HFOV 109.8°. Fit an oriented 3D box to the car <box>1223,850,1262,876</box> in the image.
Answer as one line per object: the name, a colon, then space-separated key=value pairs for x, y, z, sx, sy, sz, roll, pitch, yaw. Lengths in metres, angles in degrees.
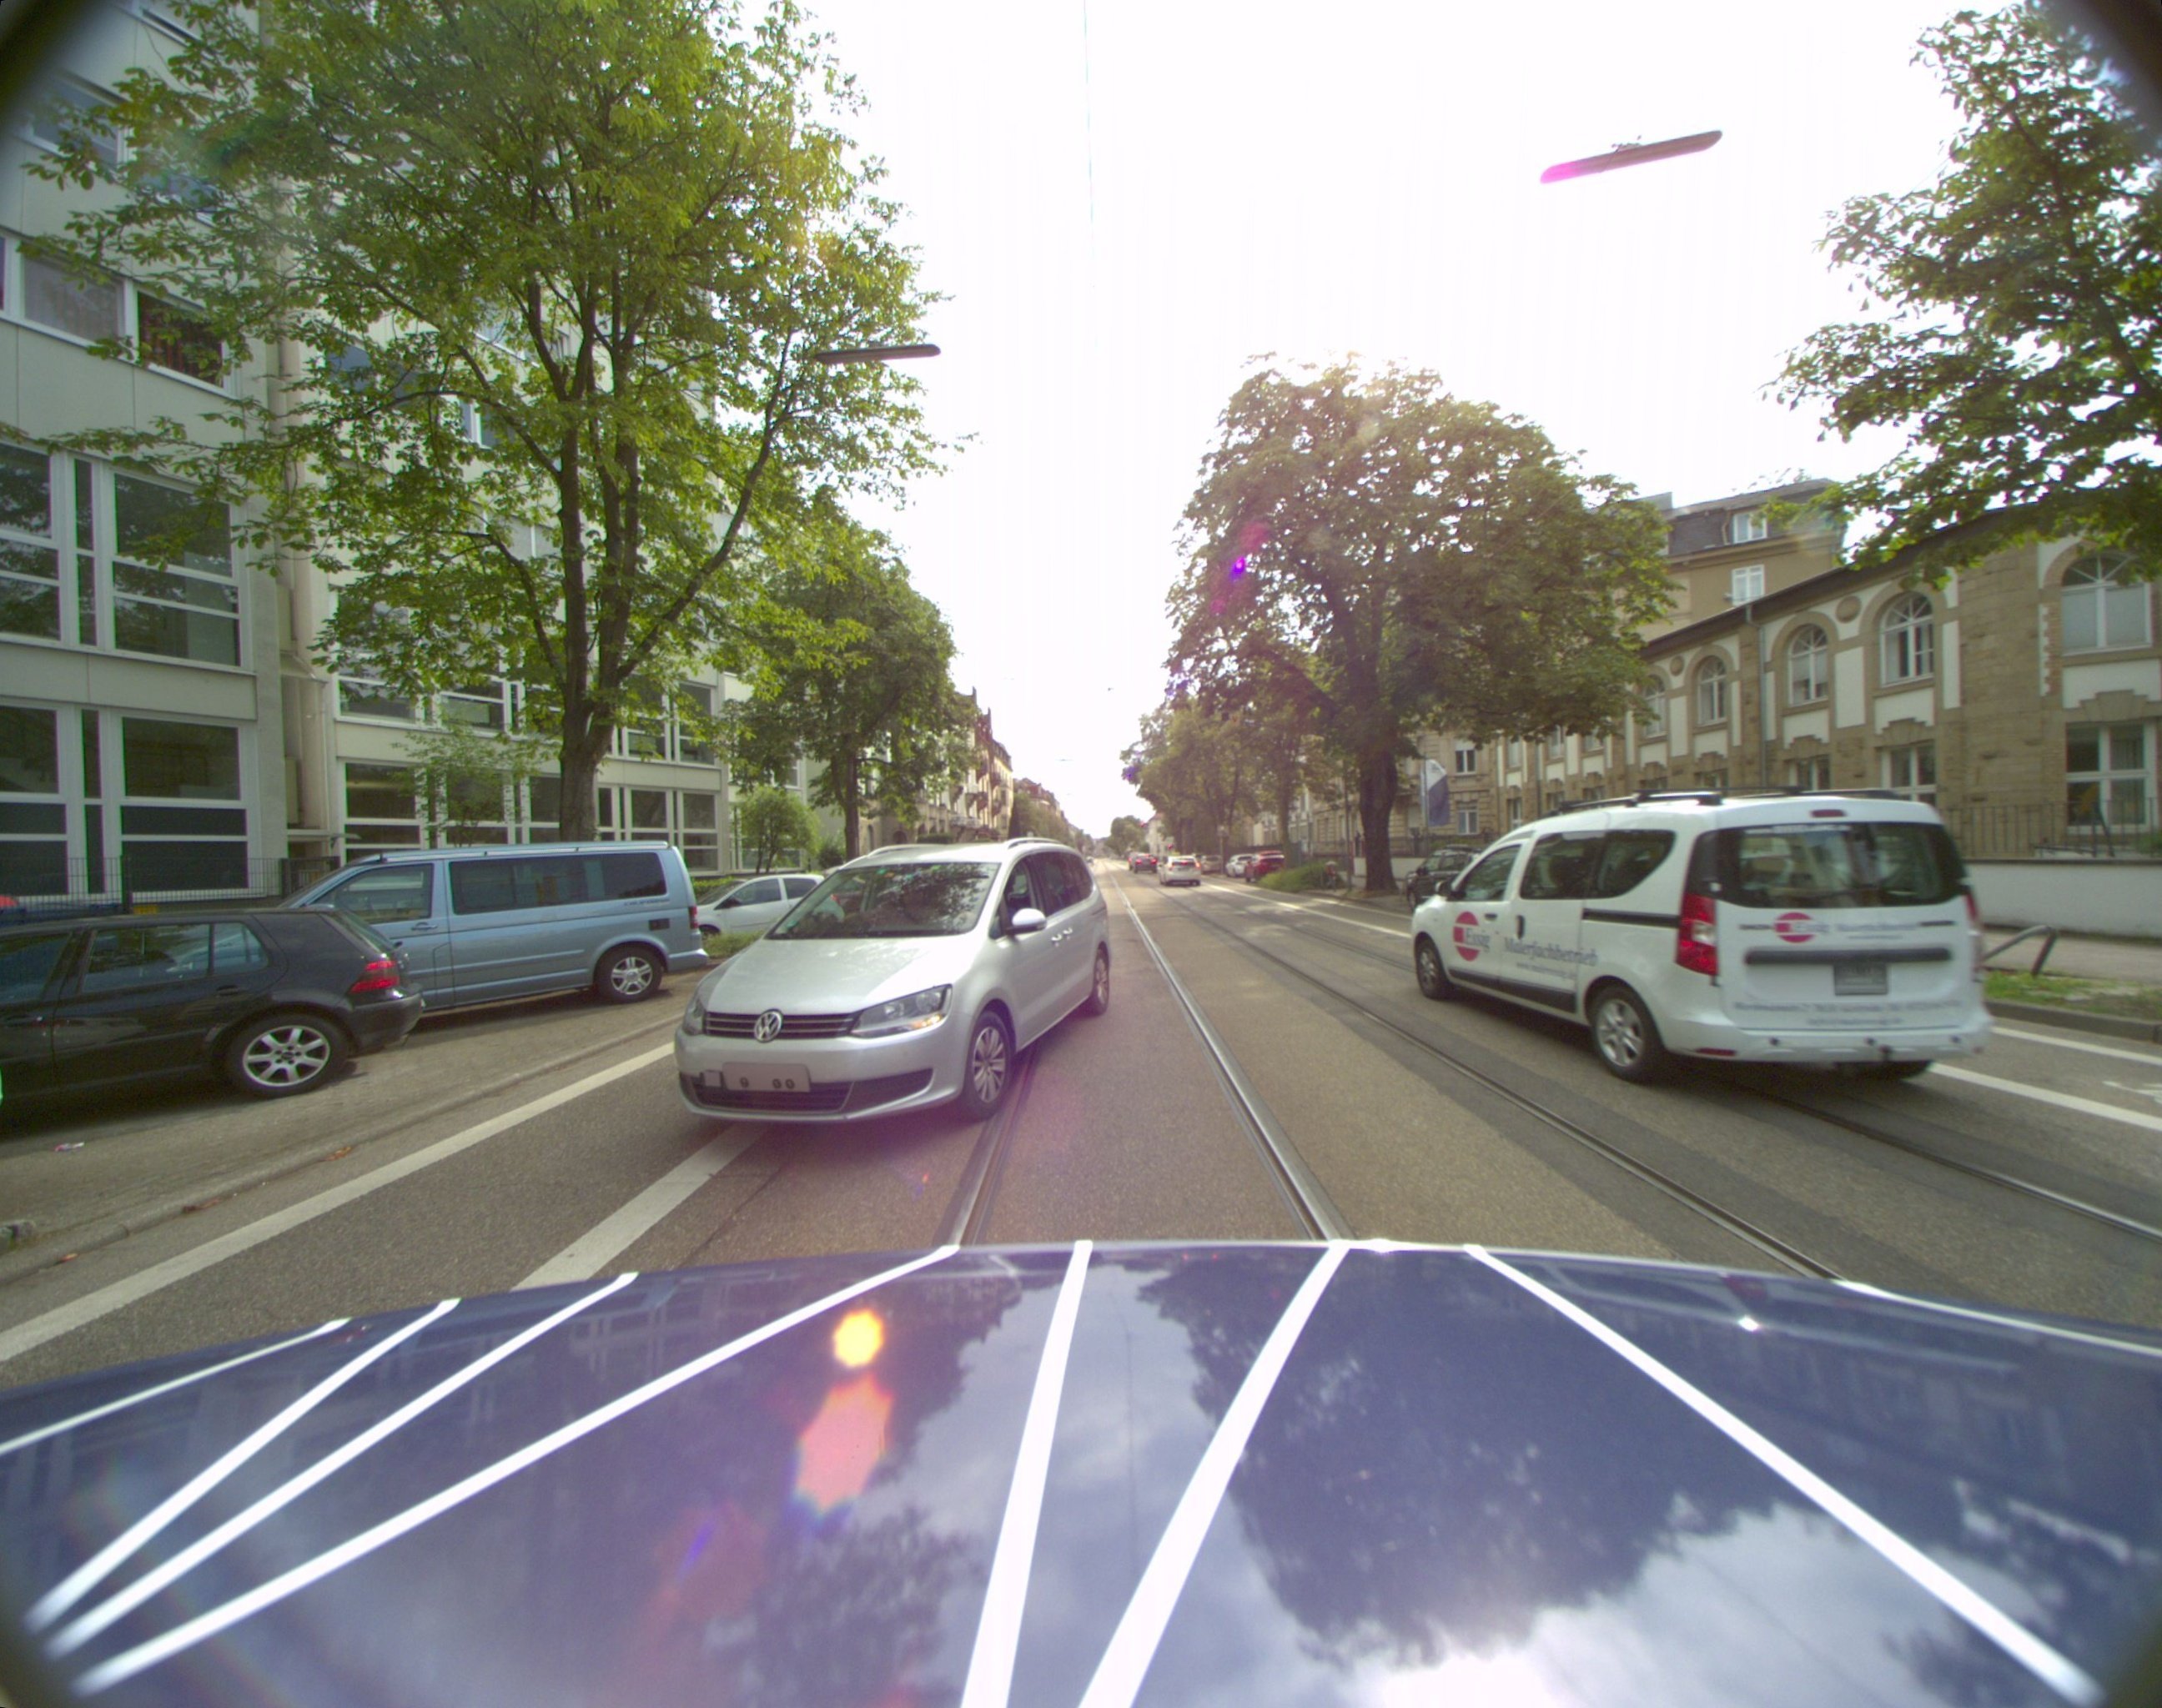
car: x=10.364 y=0.548 z=48.944 sx=1.659 sy=1.592 sz=3.906 roll=-2 pitch=0 yaw=1

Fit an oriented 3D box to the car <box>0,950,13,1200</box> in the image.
car: x=-6.995 y=1.269 z=2.441 sx=3.869 sy=1.385 sz=1.629 roll=-2 pitch=0 yaw=-45

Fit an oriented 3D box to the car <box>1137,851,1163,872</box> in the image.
car: x=5.804 y=0.617 z=64.660 sx=1.852 sy=1.603 sz=4.334 roll=-2 pitch=0 yaw=1

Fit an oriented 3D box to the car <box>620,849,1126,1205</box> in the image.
car: x=-0.992 y=0.849 z=6.100 sx=1.815 sy=1.691 sz=4.622 roll=-2 pitch=0 yaw=14

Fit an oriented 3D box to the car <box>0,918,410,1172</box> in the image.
car: x=-7.397 y=1.322 z=5.269 sx=3.980 sy=1.379 sz=1.810 roll=-3 pitch=-1 yaw=-44

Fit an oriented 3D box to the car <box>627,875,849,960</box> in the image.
car: x=-6.833 y=1.177 z=15.353 sx=3.652 sy=1.322 sz=1.763 roll=-3 pitch=1 yaw=-44

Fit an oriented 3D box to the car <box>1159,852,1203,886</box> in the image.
car: x=5.015 y=0.699 z=38.574 sx=1.736 sy=1.603 sz=4.334 roll=-1 pitch=0 yaw=1

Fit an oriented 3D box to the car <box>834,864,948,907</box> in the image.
car: x=-6.940 y=1.124 z=27.938 sx=3.652 sy=1.322 sz=1.763 roll=-3 pitch=1 yaw=-44

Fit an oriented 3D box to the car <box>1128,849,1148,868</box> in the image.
car: x=5.964 y=0.465 z=80.043 sx=1.799 sy=1.813 sz=4.678 roll=-2 pitch=0 yaw=1

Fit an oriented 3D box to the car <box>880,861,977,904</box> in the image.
car: x=-6.442 y=1.151 z=32.070 sx=3.649 sy=1.580 sz=1.764 roll=-2 pitch=1 yaw=-25

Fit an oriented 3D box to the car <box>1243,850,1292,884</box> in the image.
car: x=9.801 y=0.660 z=40.186 sx=1.659 sy=1.624 sz=3.906 roll=-2 pitch=0 yaw=1

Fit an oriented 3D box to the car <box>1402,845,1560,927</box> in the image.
car: x=9.004 y=0.656 z=17.453 sx=1.659 sy=1.624 sz=3.725 roll=-2 pitch=0 yaw=1

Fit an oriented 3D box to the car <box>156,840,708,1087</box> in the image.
car: x=-6.976 y=0.934 z=8.715 sx=4.354 sy=2.052 sz=1.994 roll=-2 pitch=0 yaw=-44

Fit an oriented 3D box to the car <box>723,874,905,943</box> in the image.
car: x=-6.485 y=1.259 z=18.652 sx=3.777 sy=1.331 sz=1.809 roll=-3 pitch=1 yaw=-40

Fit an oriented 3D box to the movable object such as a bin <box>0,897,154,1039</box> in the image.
movable object such as a bin: x=-12.224 y=1.280 z=8.756 sx=1.334 sy=1.450 sz=1.400 roll=-2 pitch=0 yaw=5

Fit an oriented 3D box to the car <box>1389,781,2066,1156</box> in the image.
car: x=4.210 y=0.591 z=6.096 sx=1.736 sy=1.873 sz=4.378 roll=-2 pitch=0 yaw=1

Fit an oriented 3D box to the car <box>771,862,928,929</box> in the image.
car: x=-6.518 y=1.100 z=21.570 sx=3.777 sy=1.609 sz=1.809 roll=-3 pitch=1 yaw=-40

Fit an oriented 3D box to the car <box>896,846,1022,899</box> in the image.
car: x=-5.680 y=0.801 z=35.749 sx=5.449 sy=2.163 sz=2.142 roll=-3 pitch=1 yaw=-40

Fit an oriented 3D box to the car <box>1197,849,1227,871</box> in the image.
car: x=10.210 y=0.470 z=59.485 sx=1.659 sy=1.624 sz=3.906 roll=-2 pitch=0 yaw=1

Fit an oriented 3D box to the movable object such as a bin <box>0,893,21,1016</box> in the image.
movable object such as a bin: x=-14.487 y=1.310 z=9.561 sx=1.177 sy=1.559 sz=1.177 roll=-2 pitch=1 yaw=30

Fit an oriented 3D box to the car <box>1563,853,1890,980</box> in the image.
car: x=8.850 y=0.742 z=10.865 sx=1.632 sy=1.456 sz=3.574 roll=-2 pitch=0 yaw=1

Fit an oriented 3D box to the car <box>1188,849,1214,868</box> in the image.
car: x=10.528 y=0.370 z=66.795 sx=1.659 sy=1.624 sz=3.906 roll=-2 pitch=0 yaw=1
